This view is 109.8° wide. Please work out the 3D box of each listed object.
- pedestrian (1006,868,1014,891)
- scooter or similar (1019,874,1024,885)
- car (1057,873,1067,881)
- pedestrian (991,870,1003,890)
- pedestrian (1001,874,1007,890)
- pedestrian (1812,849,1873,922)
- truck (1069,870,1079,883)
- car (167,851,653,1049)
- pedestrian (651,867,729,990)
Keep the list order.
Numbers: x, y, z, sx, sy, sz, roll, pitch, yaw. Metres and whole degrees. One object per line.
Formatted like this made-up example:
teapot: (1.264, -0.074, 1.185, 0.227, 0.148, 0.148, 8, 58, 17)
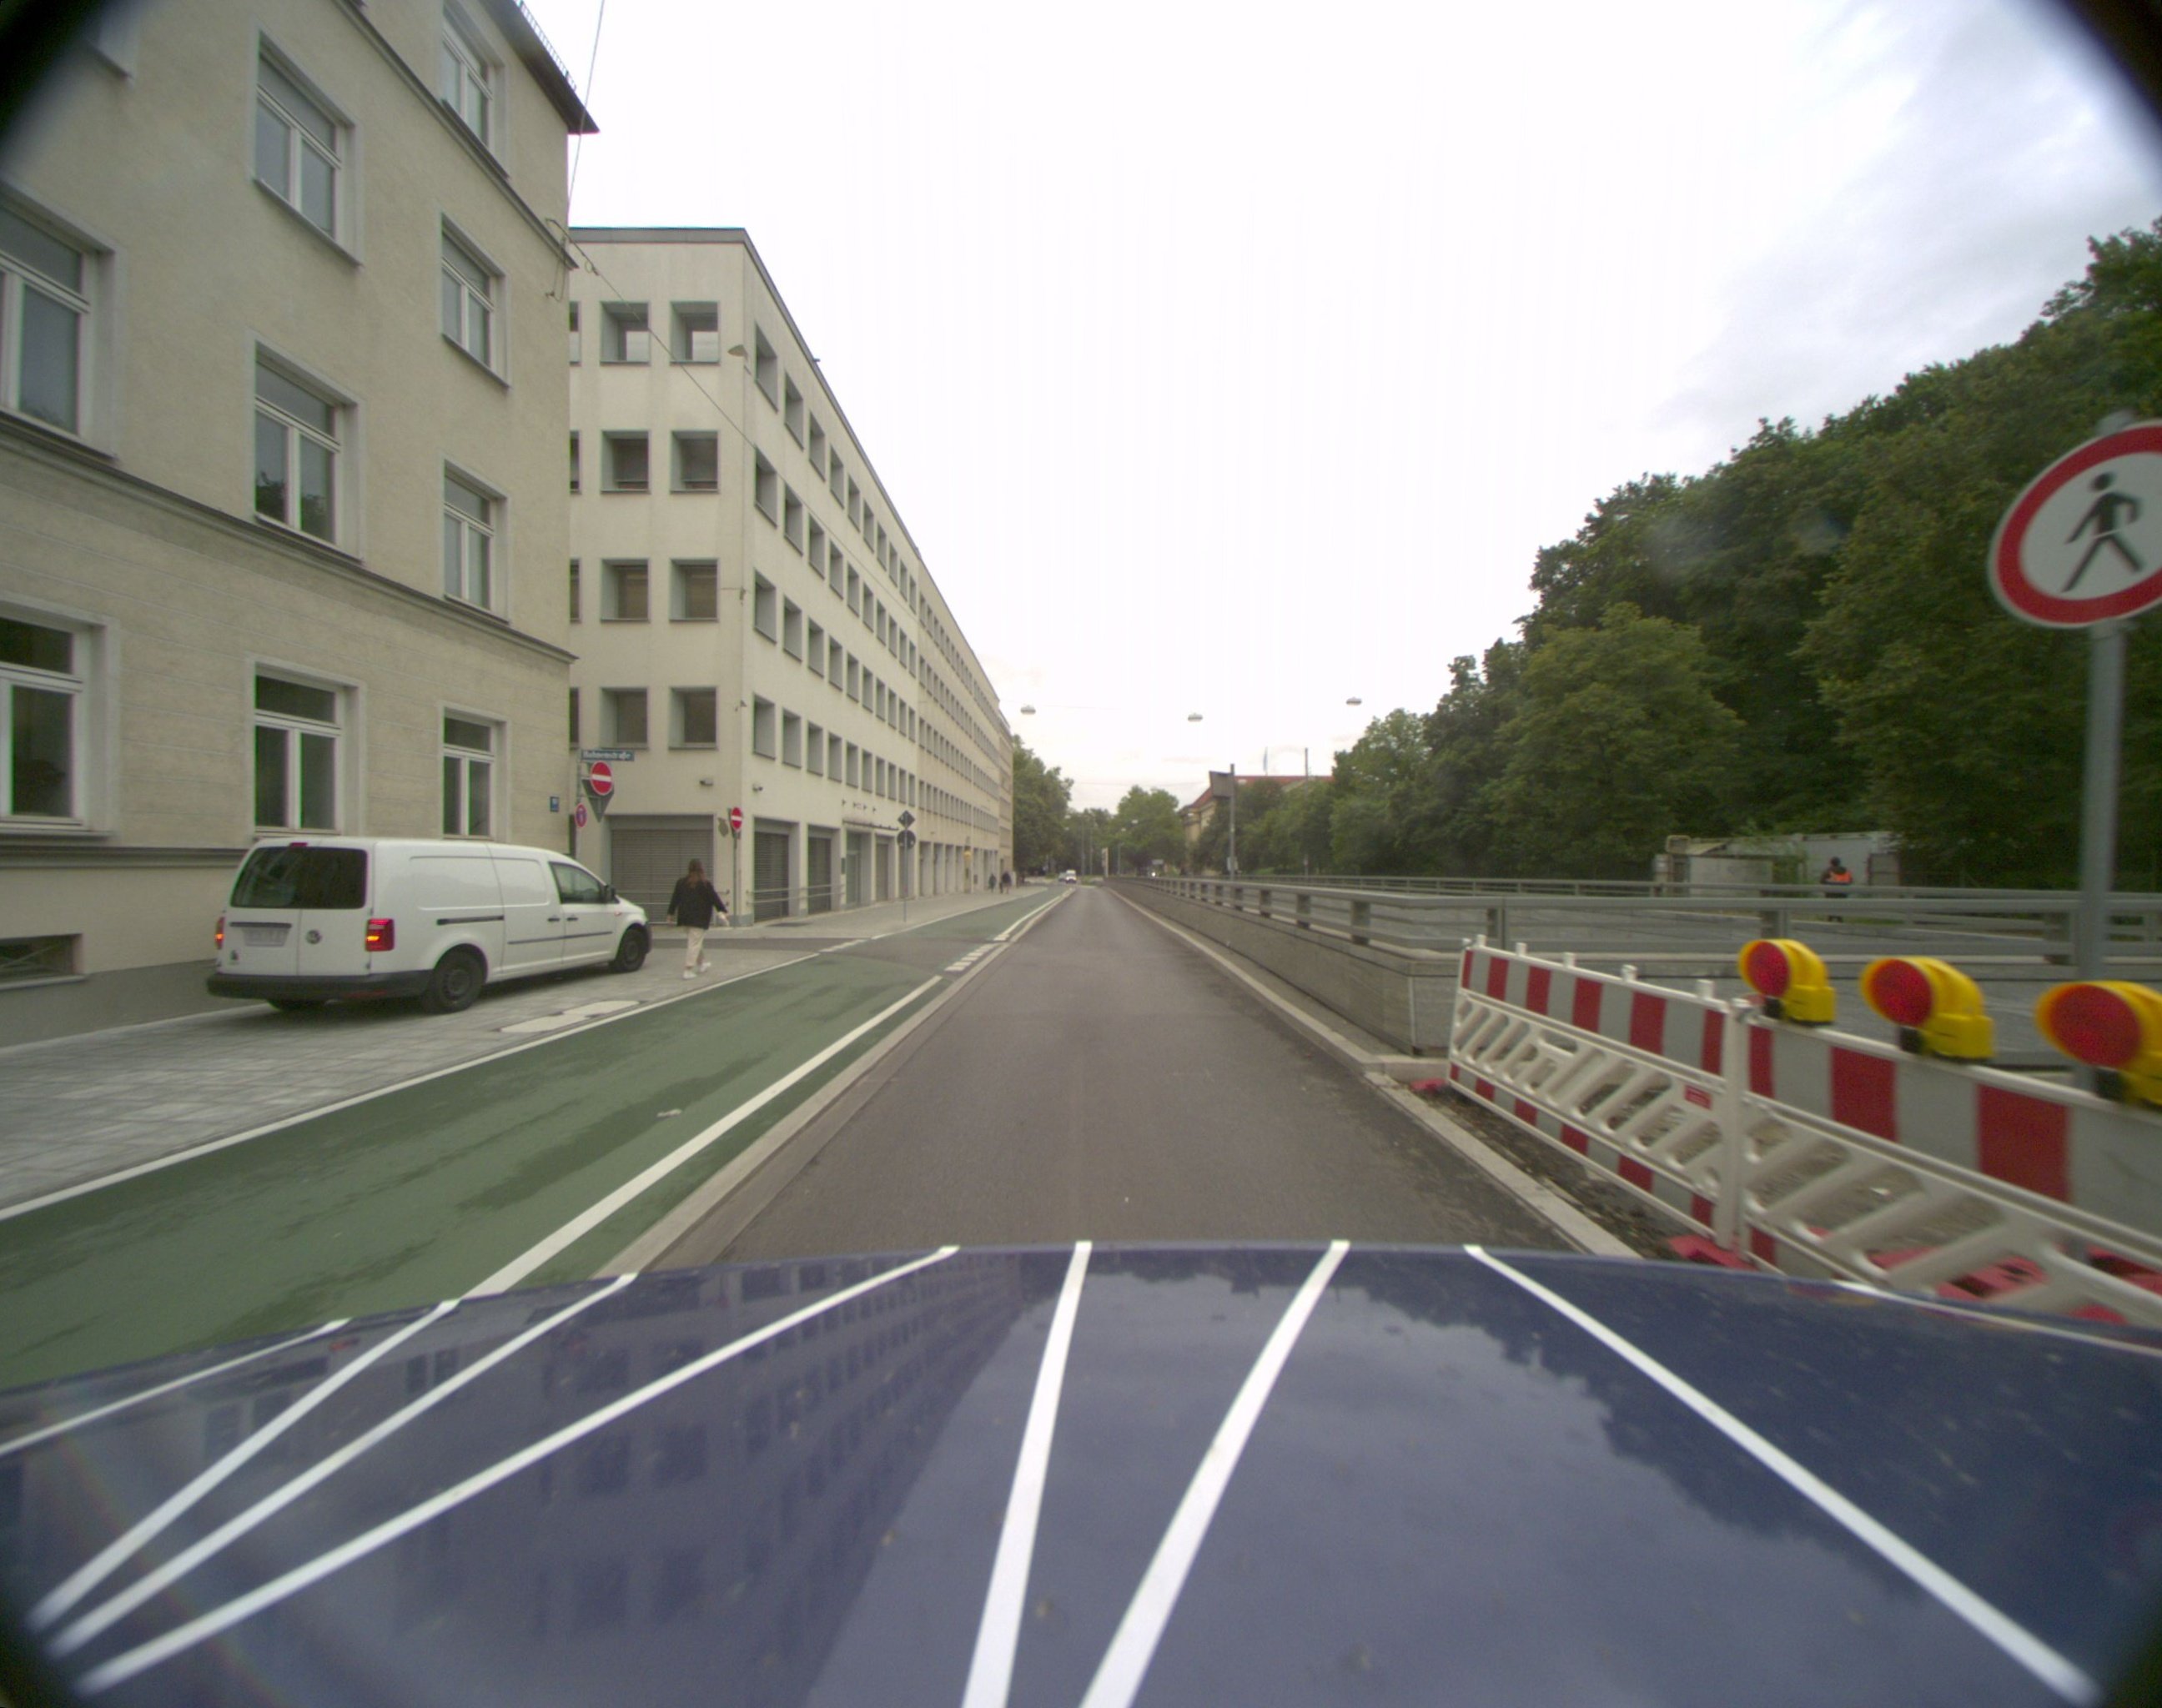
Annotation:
pedestrian: (-5.790, 2.051, 62.021, 0.514, 1.825, 0.602, 3, 0, 1)
scooter or similar: (-6.995, 3.027, 89.534, 0.387, 1.265, 1.119, 2, 0, 0)
car: (-4.139, 5.002, 166.464, 1.999, 1.738, 4.000, -1, -1, -1)
pedestrian: (-7.021, 2.172, 63.445, 0.754, 1.610, 0.704, 3, 0, 1)
pedestrian: (-6.341, 2.284, 62.236, 0.368, 1.239, 0.470, 3, 0, 1)
pedestrian: (17.415, 0.718, 17.386, 0.664, 1.631, 0.698, -1, 0, 2)
truck: (-1.409, 4.462, 152.209, 2.058, 2.624, 4.413, -1, -1, -1)
car: (-7.216, 0.884, 8.970, 1.737, 1.739, 4.436, 1, -1, 1)
pedestrian: (-5.373, 0.993, 10.489, 0.666, 1.626, 0.737, 1, 0, 1)
